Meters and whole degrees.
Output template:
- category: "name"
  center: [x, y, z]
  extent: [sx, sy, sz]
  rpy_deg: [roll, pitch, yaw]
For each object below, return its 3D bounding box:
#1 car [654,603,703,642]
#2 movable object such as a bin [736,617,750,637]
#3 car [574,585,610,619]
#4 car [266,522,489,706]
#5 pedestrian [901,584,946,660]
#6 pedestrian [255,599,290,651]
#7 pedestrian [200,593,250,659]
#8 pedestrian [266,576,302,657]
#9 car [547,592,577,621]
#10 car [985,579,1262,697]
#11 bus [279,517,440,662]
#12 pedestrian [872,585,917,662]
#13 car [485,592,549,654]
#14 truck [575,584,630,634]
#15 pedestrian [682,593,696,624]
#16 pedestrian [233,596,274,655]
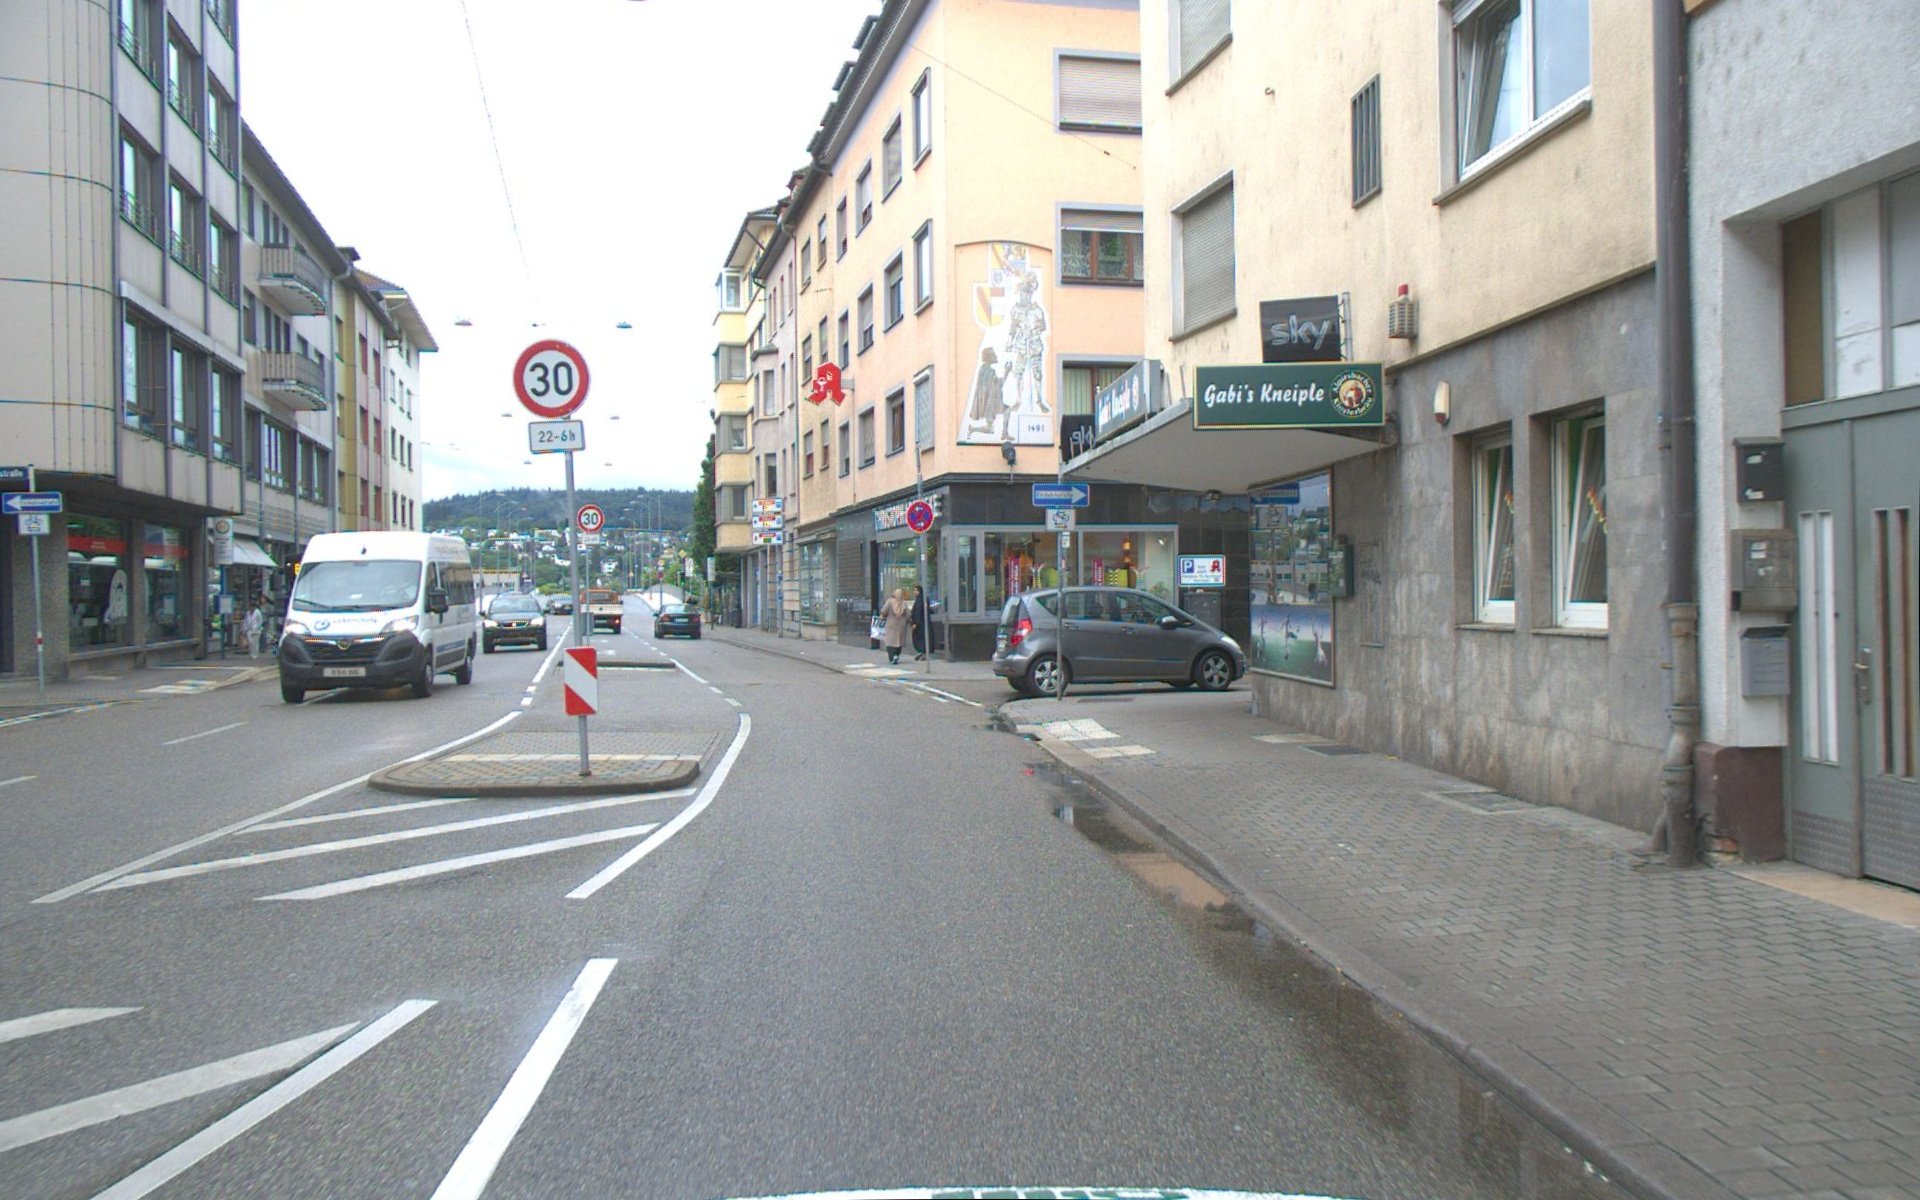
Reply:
- category: "car"
  center: [-11.339, 0.905, 66.411]
  extent: [1.724, 1.505, 3.987]
  rpy_deg: [0, -1, -13]
- category: "movable object such as a bin"
  center: [-10.571, 1.311, 80.431]
  extent: [0.590, 0.942, 0.702]
  rpy_deg: [-1, 0, -13]
- category: "car"
  center: [-22.938, 0.123, 103.047]
  extent: [1.961, 2.049, 3.983]
  rpy_deg: [-1, 0, -16]
- category: "car"
  center: [-8.923, 0.211, 25.967]
  extent: [2.047, 2.478, 6.340]
  rpy_deg: [-1, 0, -8]
- category: "pedestrian"
  center: [-0.787, 0.469, 35.271]
  extent: [0.755, 1.587, 0.873]
  rpy_deg: [-1, -1, -15]
- category: "pedestrian"
  center: [-19.305, 0.686, 46.454]
  extent: [0.761, 1.429, 0.752]
  rpy_deg: [-1, -1, -11]
- category: "pedestrian"
  center: [-18.326, 0.649, 41.267]
  extent: [0.928, 1.617, 0.832]
  rpy_deg: [-1, -1, -11]
- category: "pedestrian"
  center: [-17.309, 0.413, 42.379]
  extent: [0.666, 2.049, 0.775]
  rpy_deg: [-1, -1, -11]
- category: "car"
  center: [-29.484, 0.515, 122.515]
  extent: [1.961, 2.049, 3.983]
  rpy_deg: [-1, 0, -16]
- category: "car"
  center: [2.416, 0.551, 24.980]
  extent: [3.756, 1.601, 1.931]
  rpy_deg: [-1, 0, -11]
- category: "bus"
  center: [-15.080, -0.210, 42.176]
  extent: [2.711, 3.244, 8.881]
  rpy_deg: [-1, 0, -13]
- category: "pedestrian"
  center: [-1.382, 0.492, 34.890]
  extent: [0.765, 1.587, 0.780]
  rpy_deg: [-1, -1, -15]
- category: "car"
  center: [-13.099, 0.627, 49.058]
  extent: [1.714, 1.691, 4.401]
  rpy_deg: [-1, 1, -14]
- category: "truck"
  center: [-16.336, 0.411, 75.433]
  extent: [2.359, 2.167, 5.296]
  rpy_deg: [-1, 0, -13]
- category: "pedestrian"
  center: [-16.518, 0.507, 100.878]
  extent: [0.720, 1.873, 0.628]
  rpy_deg: [-1, -1, -15]
- category: "pedestrian"
  center: [-17.648, 0.634, 41.310]
  extent: [0.754, 1.420, 0.785]
  rpy_deg: [-1, -1, -11]
